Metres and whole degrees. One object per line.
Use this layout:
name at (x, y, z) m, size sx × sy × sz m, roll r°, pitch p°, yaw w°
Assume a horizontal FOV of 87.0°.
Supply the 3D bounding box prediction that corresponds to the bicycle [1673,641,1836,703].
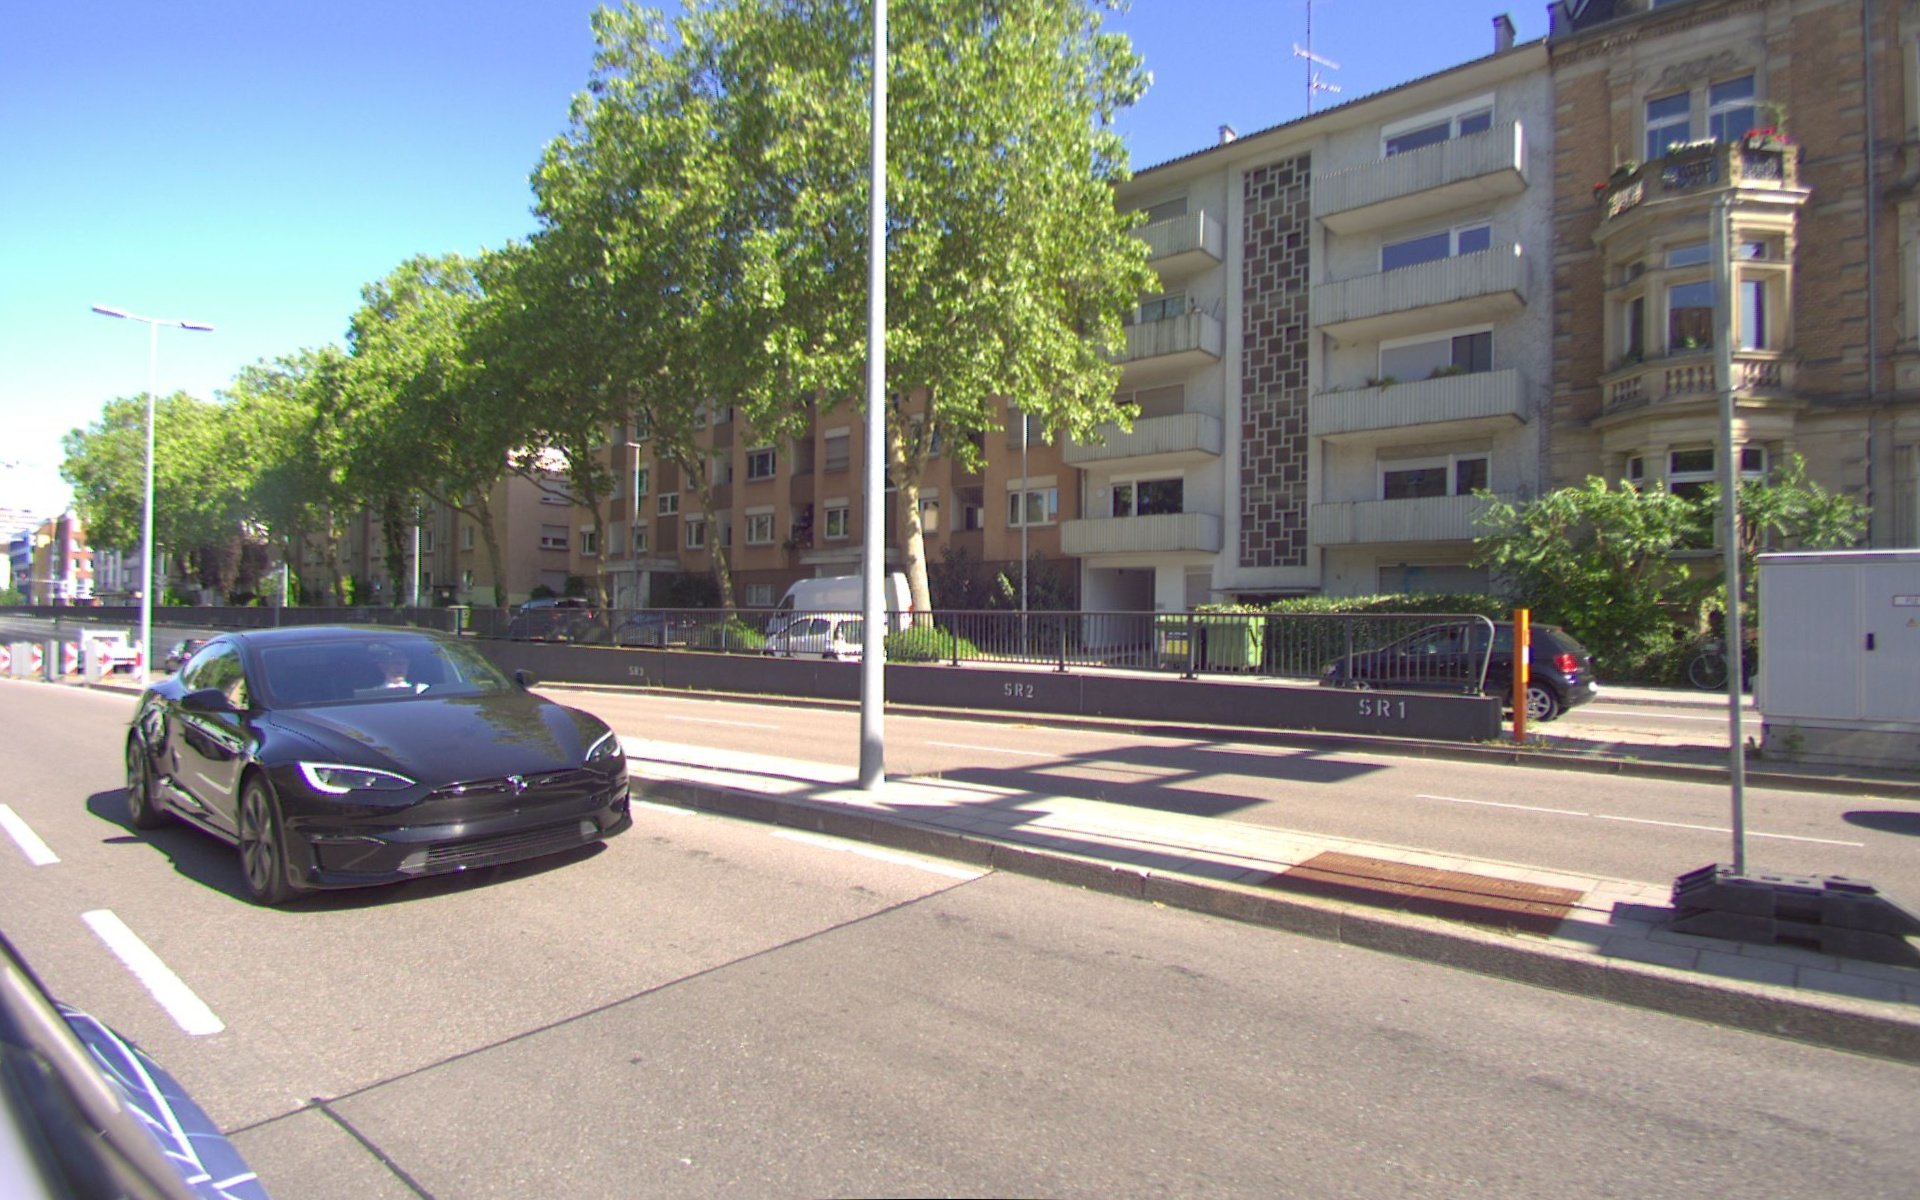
bicycle at (14.167, 1.263, 18.116) m, size 2.248 × 1.013 × 0.462 m, roll -2°, pitch -1°, yaw 40°

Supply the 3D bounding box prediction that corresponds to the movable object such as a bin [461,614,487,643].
movable object such as a bin at (-27.898, 1.649, 58.131) m, size 1.253 × 1.654 × 0.873 m, roll -2°, pitch -5°, yaw 41°

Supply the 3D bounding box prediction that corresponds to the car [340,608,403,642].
car at (-34.619, 1.481, 59.482) m, size 3.998 × 1.864 × 1.973 m, roll -2°, pitch -5°, yaw 41°

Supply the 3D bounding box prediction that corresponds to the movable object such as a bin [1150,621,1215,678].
movable object such as a bin at (5.524, 1.244, 25.146) m, size 1.314 × 1.373 × 0.883 m, roll -2°, pitch -5°, yaw 41°

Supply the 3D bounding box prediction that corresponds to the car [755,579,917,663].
car at (-4.015, 0.747, 32.271) m, size 5.286 × 2.465 × 2.220 m, roll -3°, pitch -5°, yaw 43°

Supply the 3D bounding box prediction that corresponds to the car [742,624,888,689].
car at (-3.650, 1.361, 25.231) m, size 3.688 × 1.498 × 1.611 m, roll -1°, pitch -2°, yaw 41°

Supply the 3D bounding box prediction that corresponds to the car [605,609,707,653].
car at (-11.827, 1.236, 39.288) m, size 3.999 × 1.592 × 1.972 m, roll -2°, pitch -5°, yaw 42°

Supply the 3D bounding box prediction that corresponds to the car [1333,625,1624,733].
car at (7.860, 1.136, 15.518) m, size 3.688 × 1.449 × 1.611 m, roll -2°, pitch -3°, yaw 41°

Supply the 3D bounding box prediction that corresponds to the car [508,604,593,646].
car at (-18.145, 1.157, 44.806) m, size 3.999 × 1.766 × 1.972 m, roll -2°, pitch -3°, yaw 42°

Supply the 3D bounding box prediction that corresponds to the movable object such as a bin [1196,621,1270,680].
movable object such as a bin at (6.518, 1.210, 24.169) m, size 1.474 × 1.371 × 0.883 m, roll -3°, pitch -5°, yaw 43°

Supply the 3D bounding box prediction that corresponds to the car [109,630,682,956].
car at (-3.977, 0.939, 6.729) m, size 4.623 × 1.422 × 1.905 m, roll -2°, pitch -3°, yaw 41°

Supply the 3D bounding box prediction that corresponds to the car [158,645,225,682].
car at (-33.187, 2.727, 43.691) m, size 3.296 × 1.485 × 1.641 m, roll -1°, pitch -4°, yaw 41°

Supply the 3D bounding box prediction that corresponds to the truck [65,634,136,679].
truck at (-48.923, 3.207, 57.591) m, size 5.365 × 2.413 × 2.255 m, roll -2°, pitch -5°, yaw 42°

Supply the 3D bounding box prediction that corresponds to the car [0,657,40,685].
car at (-76.471, 5.755, 82.236) m, size 3.996 × 2.029 × 1.974 m, roll -1°, pitch -2°, yaw 39°

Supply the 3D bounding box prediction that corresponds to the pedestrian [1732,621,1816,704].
pedestrian at (14.031, 1.061, 17.463) m, size 1.089 × 1.388 × 0.560 m, roll -1°, pitch -2°, yaw 40°
